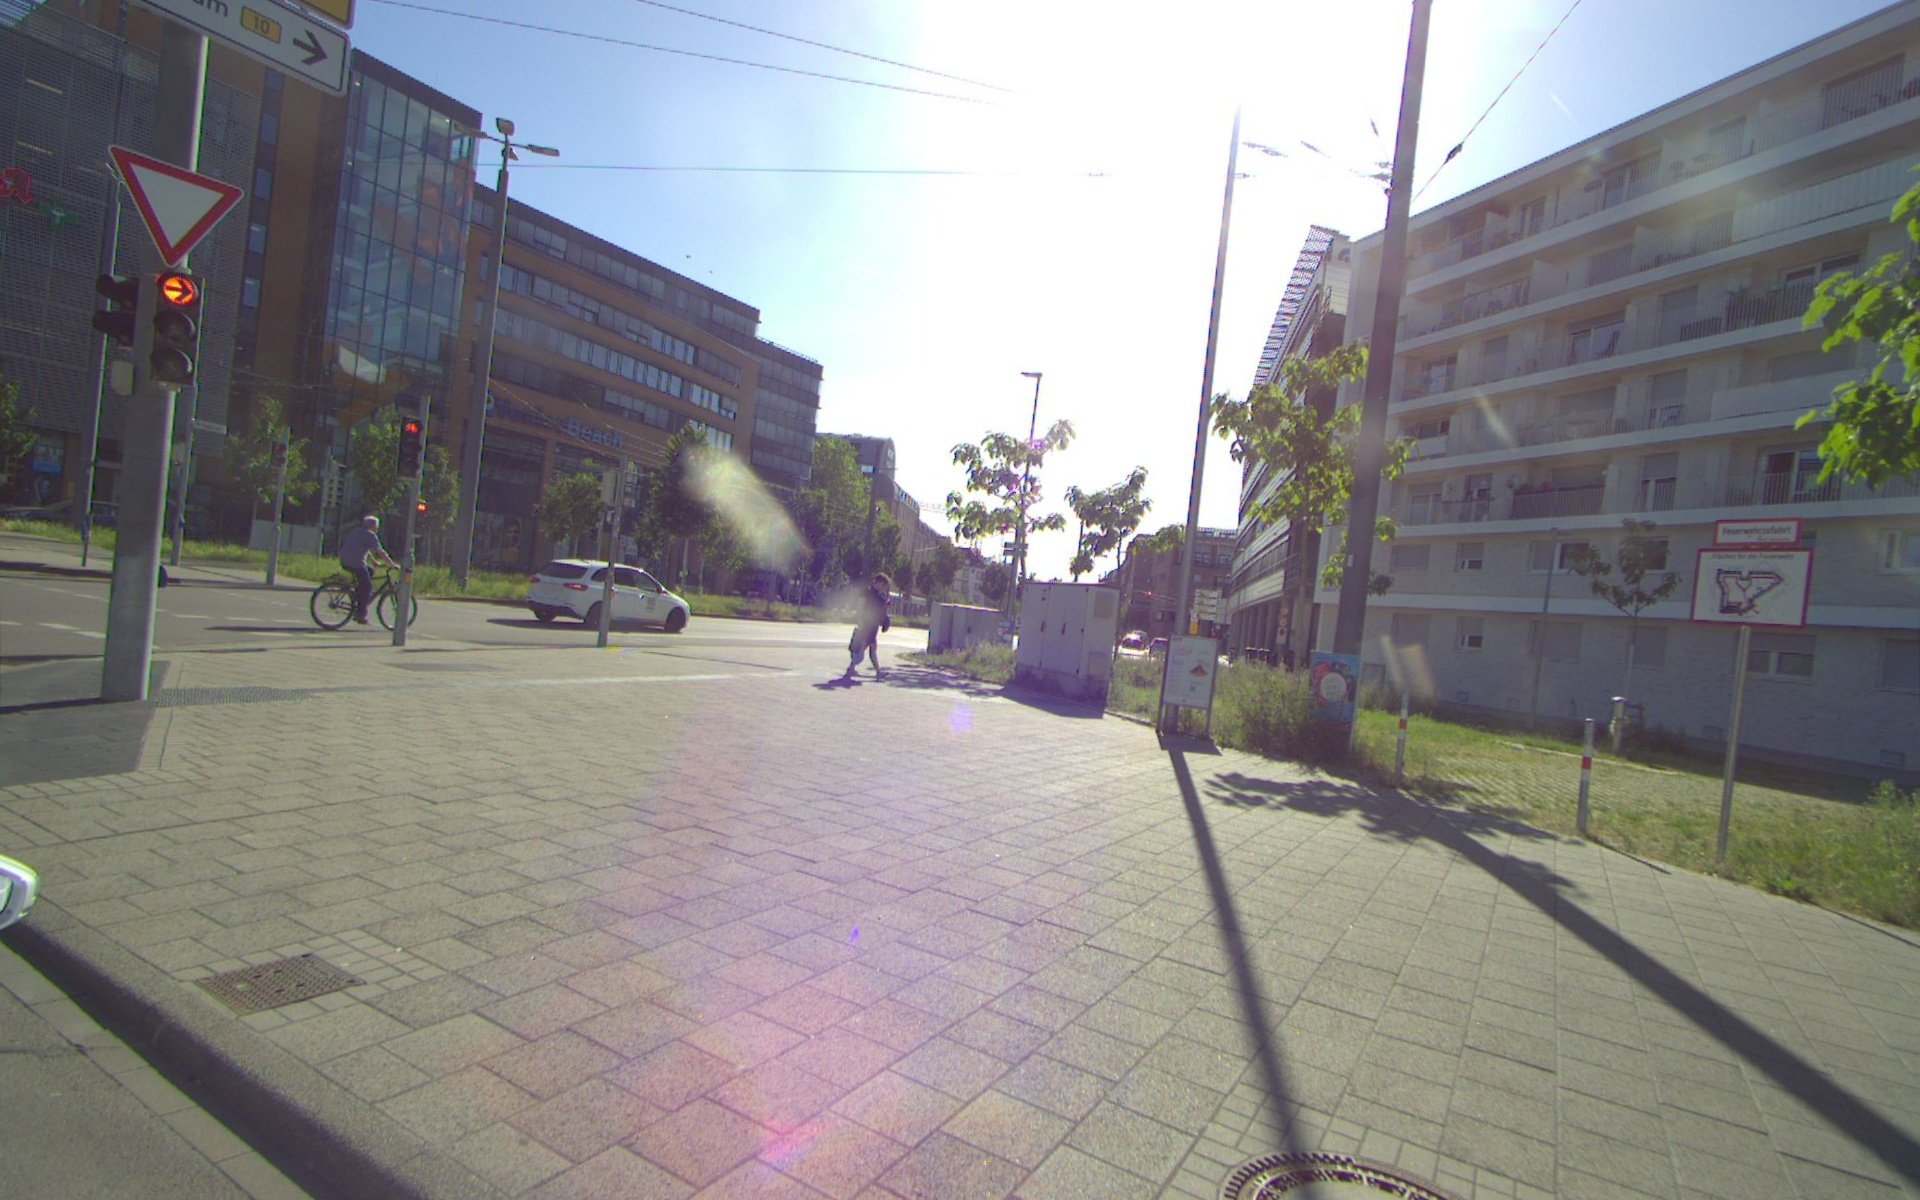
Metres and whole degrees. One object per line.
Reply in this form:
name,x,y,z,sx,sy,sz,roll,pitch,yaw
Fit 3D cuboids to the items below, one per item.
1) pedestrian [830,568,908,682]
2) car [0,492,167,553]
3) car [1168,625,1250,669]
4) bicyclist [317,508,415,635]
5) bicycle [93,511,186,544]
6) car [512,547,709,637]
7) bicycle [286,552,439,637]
pedestrian,-1.474,0.418,16.316,0.749,1.729,0.807,7,0,31
car,-31.745,-2.759,36.371,1.470,1.513,4.493,7,-1,32
car,14.277,2.691,57.787,3.929,2.038,1.999,7,0,-5
bicyclist,-9.443,-0.441,16.007,0.840,1.882,0.903,7,0,32
bicycle,-41.046,-3.626,50.388,1.100,1.090,3.361,7,-1,38
car,-8.358,-0.120,24.544,1.806,1.654,4.502,8,0,24
bicycle,-9.484,-0.061,16.030,0.839,1.129,1.831,7,-1,32
